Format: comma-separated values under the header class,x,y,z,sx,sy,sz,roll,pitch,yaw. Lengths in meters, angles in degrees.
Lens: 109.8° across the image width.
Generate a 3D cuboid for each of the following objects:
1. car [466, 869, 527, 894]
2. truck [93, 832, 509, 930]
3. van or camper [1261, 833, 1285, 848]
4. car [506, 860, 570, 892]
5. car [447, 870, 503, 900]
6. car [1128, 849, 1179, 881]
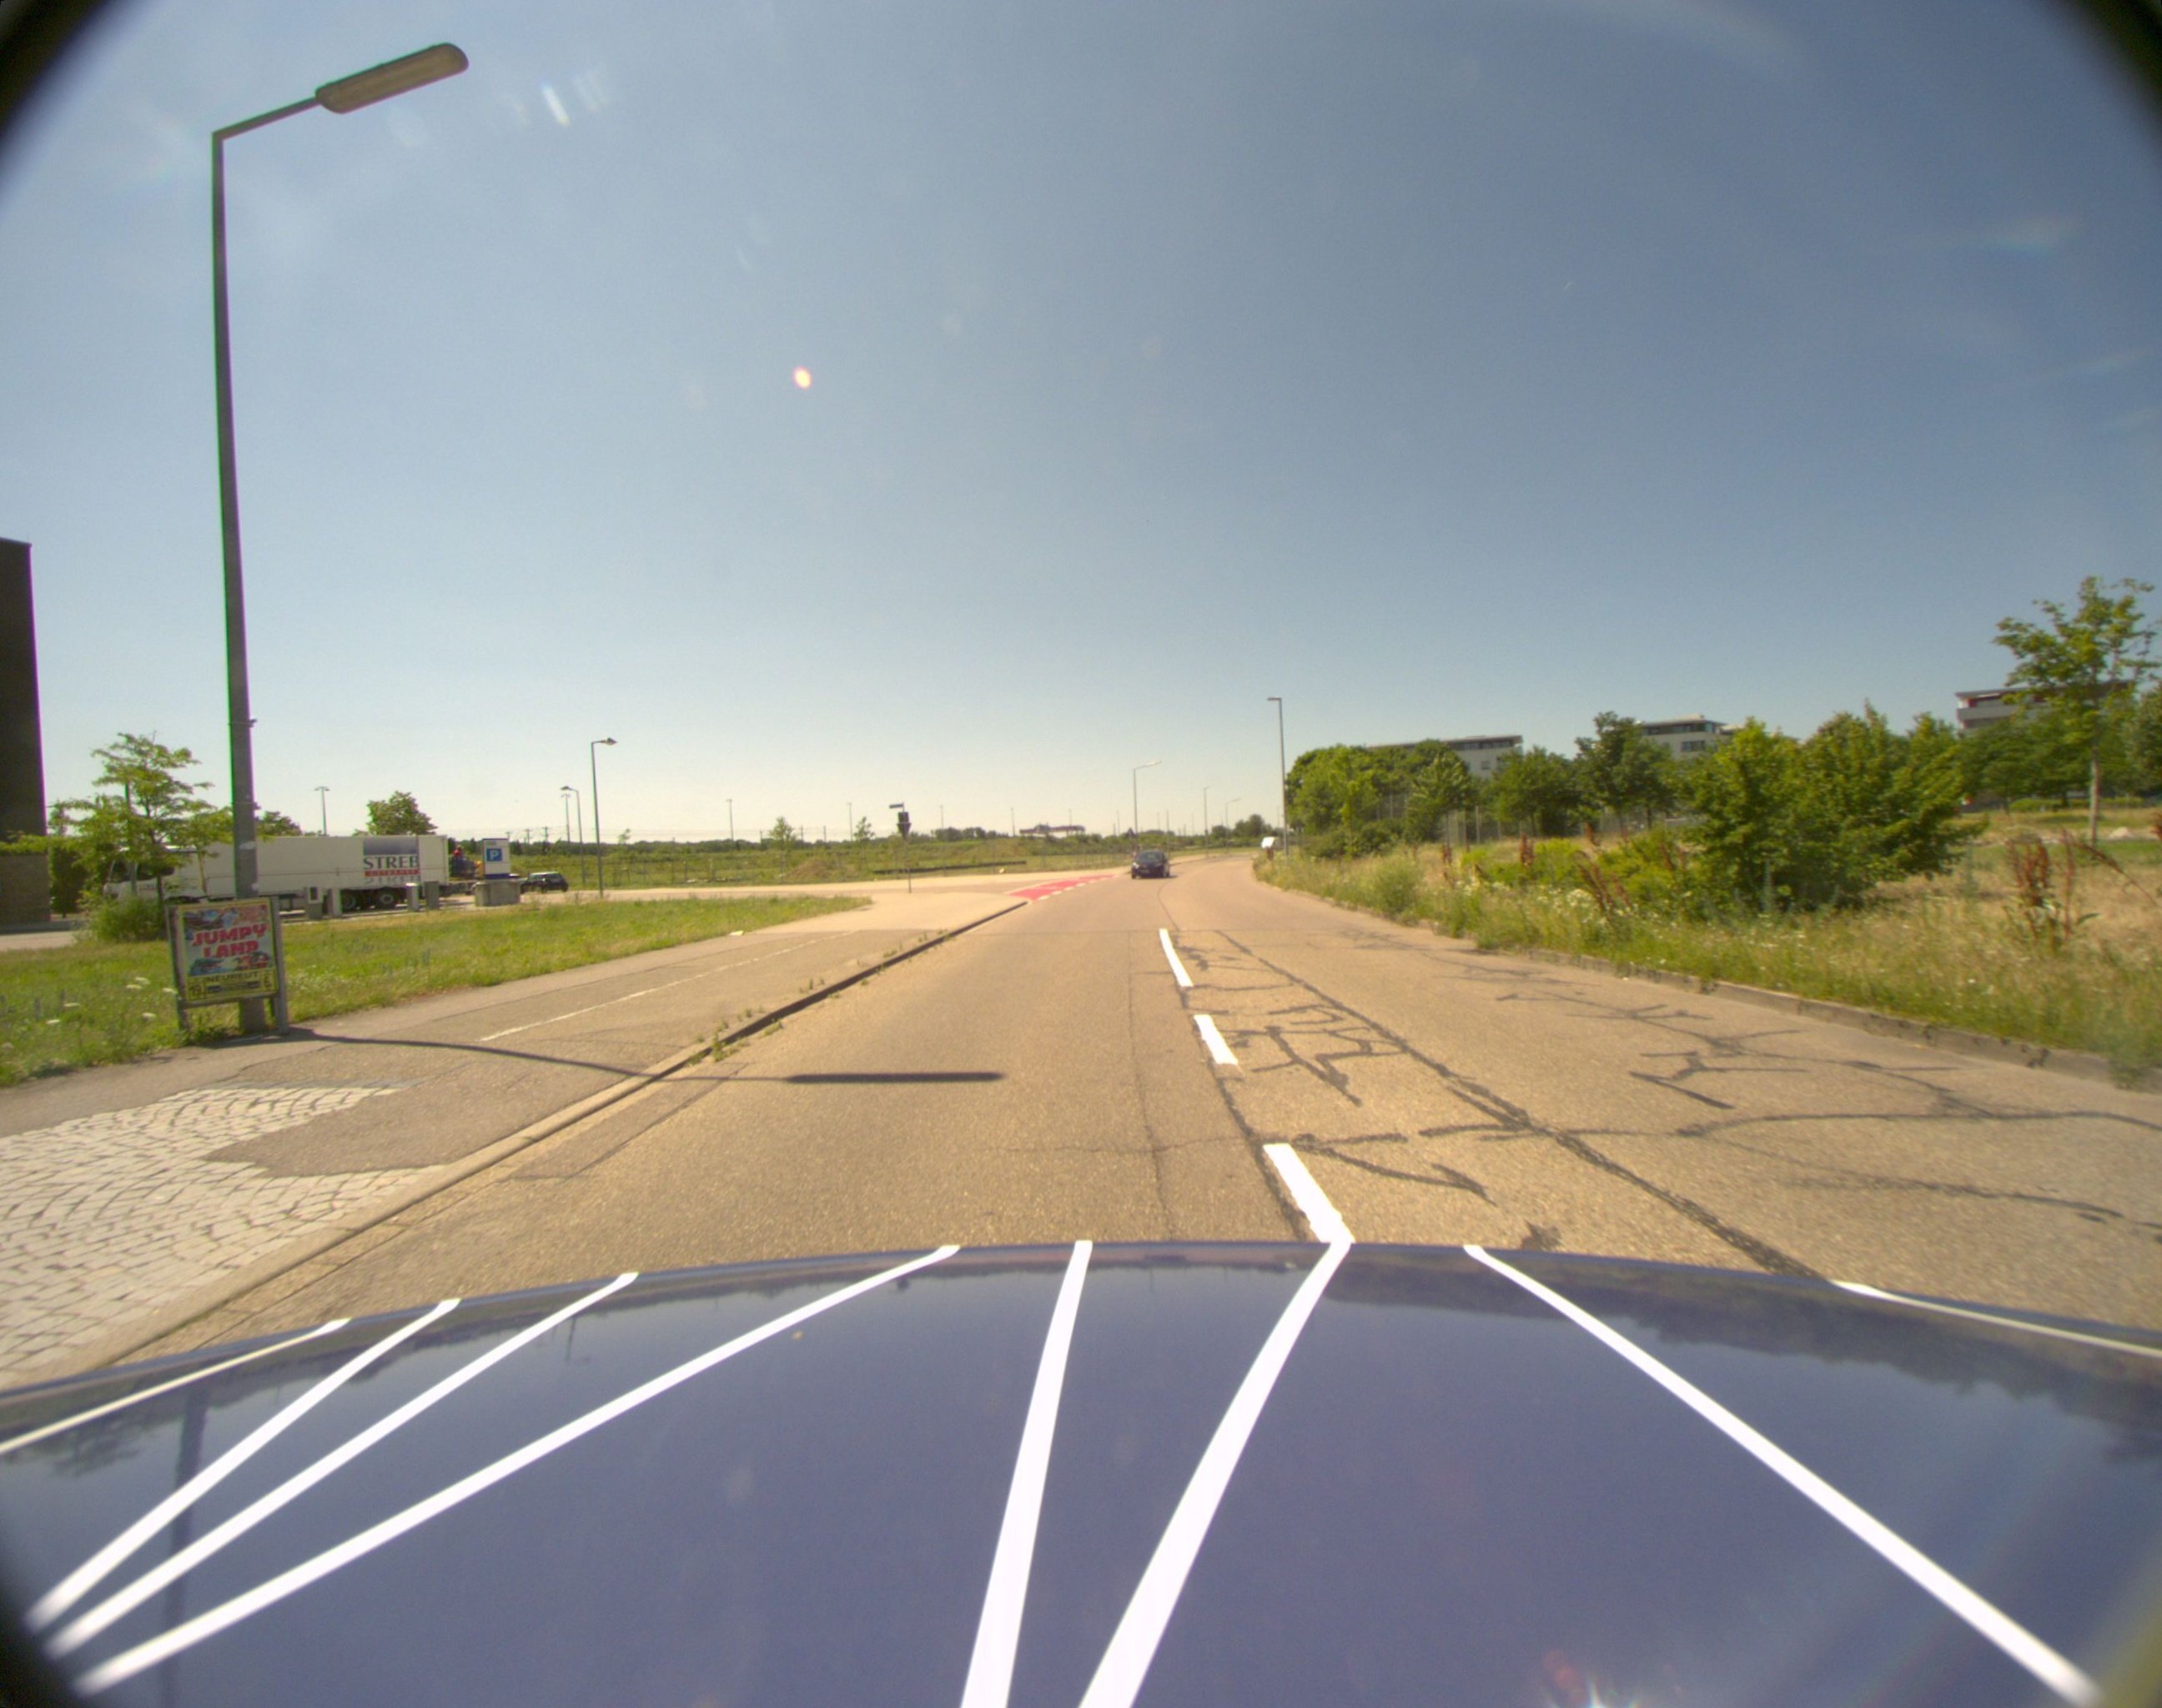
class,x,y,z,sx,sy,sz,roll,pitch,yaw
car,-41.522,1.951,53.989,4.035,1.548,1.752,-2,1,27
truck,-32.647,0.822,33.062,3.010,3.442,12.158,0,2,28
van or camper,34.930,-2.474,138.277,2.137,2.558,5.877,-2,1,35
car,-36.739,1.509,51.396,3.906,2.002,1.884,-2,1,29
car,-47.935,2.458,60.107,3.907,2.002,1.883,-4,1,27
car,3.849,0.546,39.938,1.651,1.458,4.165,-2,1,20
